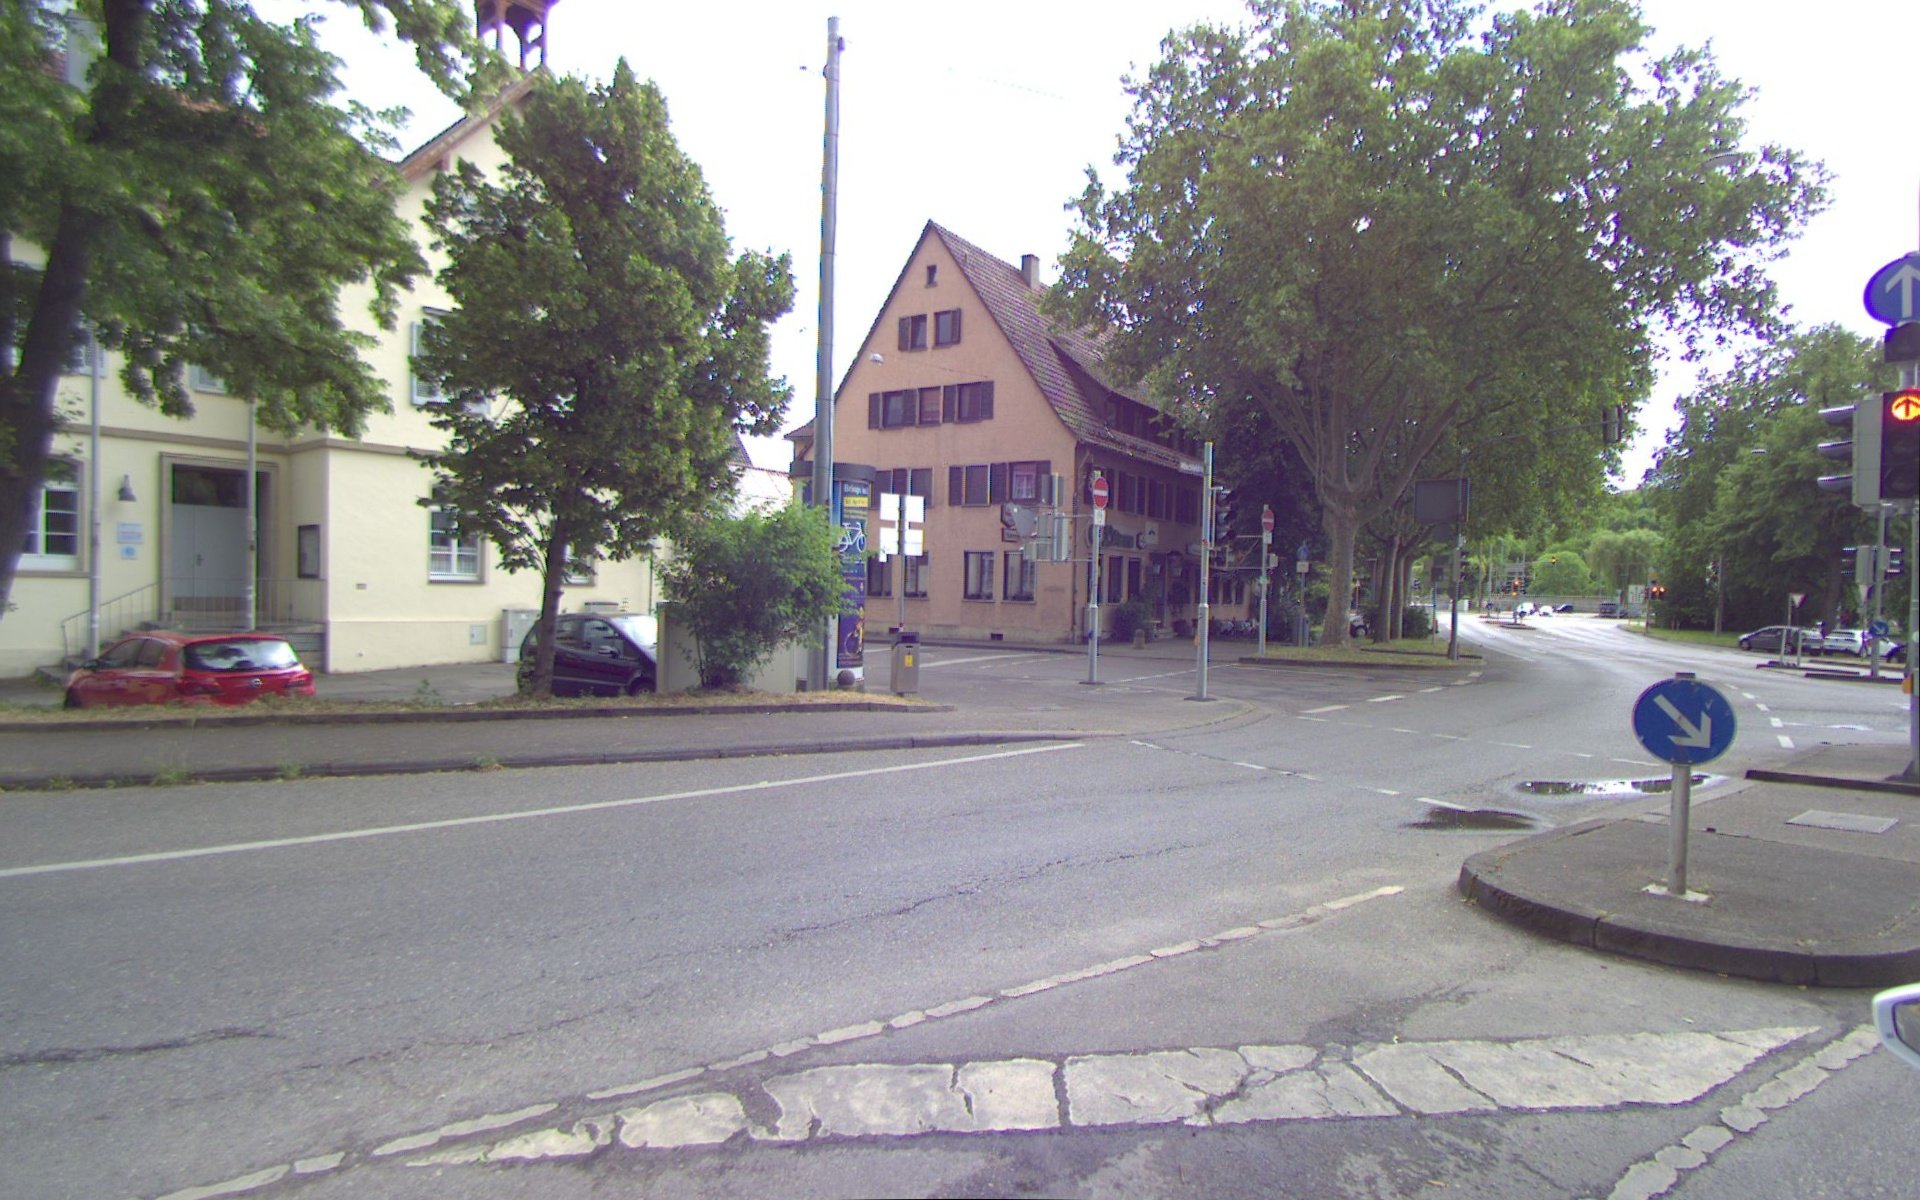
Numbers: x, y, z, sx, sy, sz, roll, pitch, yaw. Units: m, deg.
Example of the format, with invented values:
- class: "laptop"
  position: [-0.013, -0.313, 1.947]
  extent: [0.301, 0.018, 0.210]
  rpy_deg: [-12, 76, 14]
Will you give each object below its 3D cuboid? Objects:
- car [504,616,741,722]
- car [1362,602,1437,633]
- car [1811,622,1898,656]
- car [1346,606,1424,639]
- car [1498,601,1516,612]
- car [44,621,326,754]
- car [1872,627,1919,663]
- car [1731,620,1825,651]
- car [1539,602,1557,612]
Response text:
- class: "car"
  position: [-5.529, 1.054, 16.436]
  extent: [3.507, 1.459, 1.644]
  rpy_deg: [2, 0, 26]
- class: "car"
  position: [25.729, 1.010, 58.780]
  extent: [3.924, 1.706, 1.998]
  rpy_deg: [1, 0, 25]
- class: "car"
  position: [47.462, 2.042, 53.324]
  extent: [3.696, 1.662, 1.859]
  rpy_deg: [2, 0, -19]
- class: "car"
  position: [23.997, 1.254, 56.704]
  extent: [3.924, 1.706, 1.998]
  rpy_deg: [1, 0, 25]
- class: "car"
  position: [85.332, 1.045, 156.754]
  extent: [1.553, 1.506, 3.337]
  rpy_deg: [3, 0, 12]
- class: "car"
  position: [-10.280, 1.049, 13.288]
  extent: [3.653, 1.401, 1.659]
  rpy_deg: [2, 0, 30]
- class: "car"
  position: [39.448, 1.863, 40.762]
  extent: [1.746, 1.370, 3.326]
  rpy_deg: [2, 0, -2]
- class: "car"
  position: [43.819, 1.881, 53.905]
  extent: [1.592, 1.485, 3.778]
  rpy_deg: [2, 0, -11]
- class: "car"
  position: [90.912, 1.086, 155.363]
  extent: [1.469, 1.436, 3.028]
  rpy_deg: [3, 0, 11]
